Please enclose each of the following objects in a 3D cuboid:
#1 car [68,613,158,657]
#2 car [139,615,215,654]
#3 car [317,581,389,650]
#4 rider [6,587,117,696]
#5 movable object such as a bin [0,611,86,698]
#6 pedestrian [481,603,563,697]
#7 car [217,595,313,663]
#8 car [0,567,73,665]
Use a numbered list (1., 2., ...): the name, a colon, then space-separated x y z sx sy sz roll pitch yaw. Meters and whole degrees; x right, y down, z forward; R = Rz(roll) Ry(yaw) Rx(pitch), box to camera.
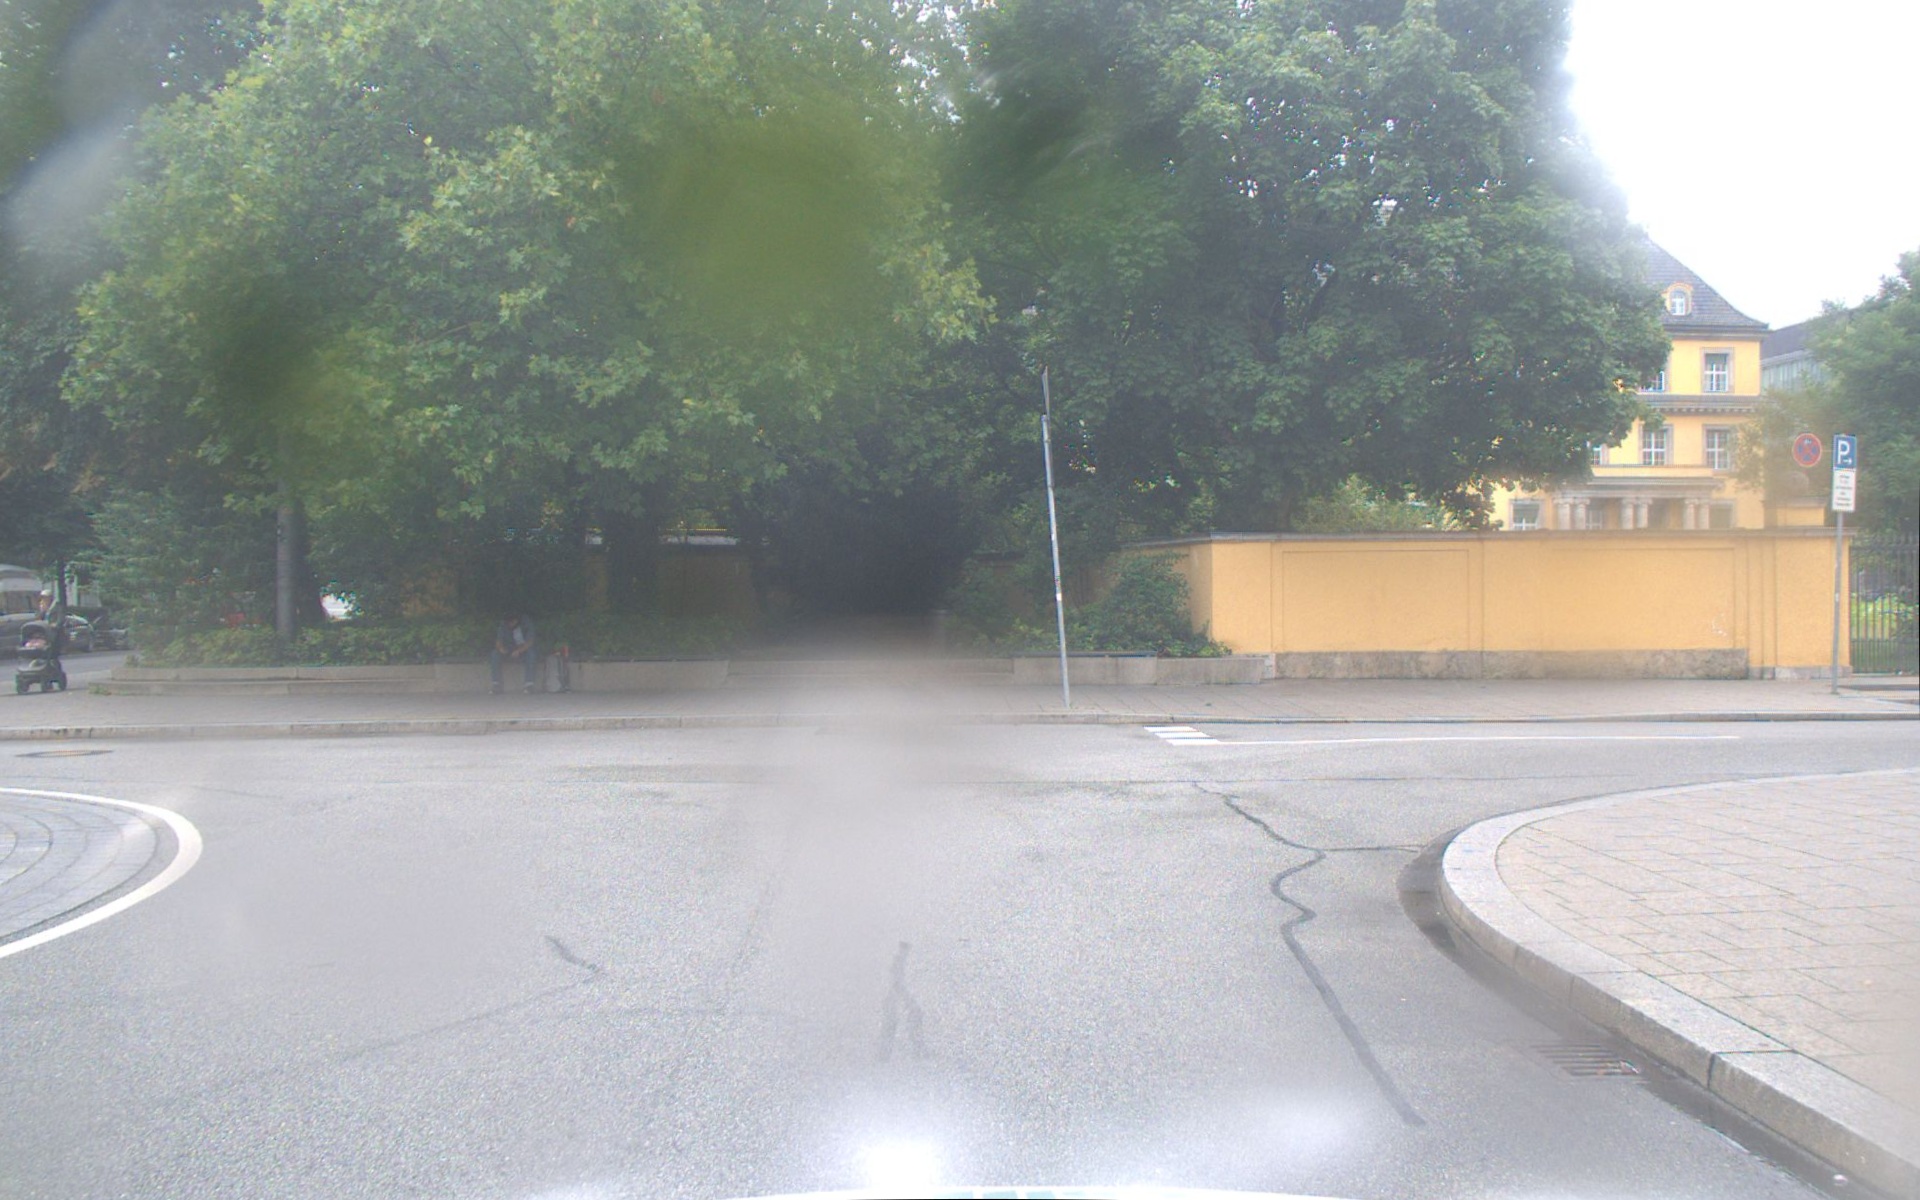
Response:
1. car: -32.099 1.312 62.793 1.861 1.565 4.065 -1 0 -9
2. car: -33.655 1.465 71.205 1.861 1.599 4.065 -1 0 -9
3. car: -24.231 0.599 66.209 2.006 2.603 5.230 -1 0 -13
4. rider: -14.738 0.663 27.156 1.059 1.696 1.140 -3 0 4
5. movable object such as a bin: -14.790 0.866 26.340 1.055 1.289 1.087 -3 0 4
6. pedestrian: -5.866 0.657 22.196 0.795 1.209 0.920 -1 0 3
7. car: -21.248 0.844 50.759 2.007 1.956 4.430 -1 0 -14
8. car: -30.451 0.502 52.047 2.291 2.973 6.566 -1 0 -8
